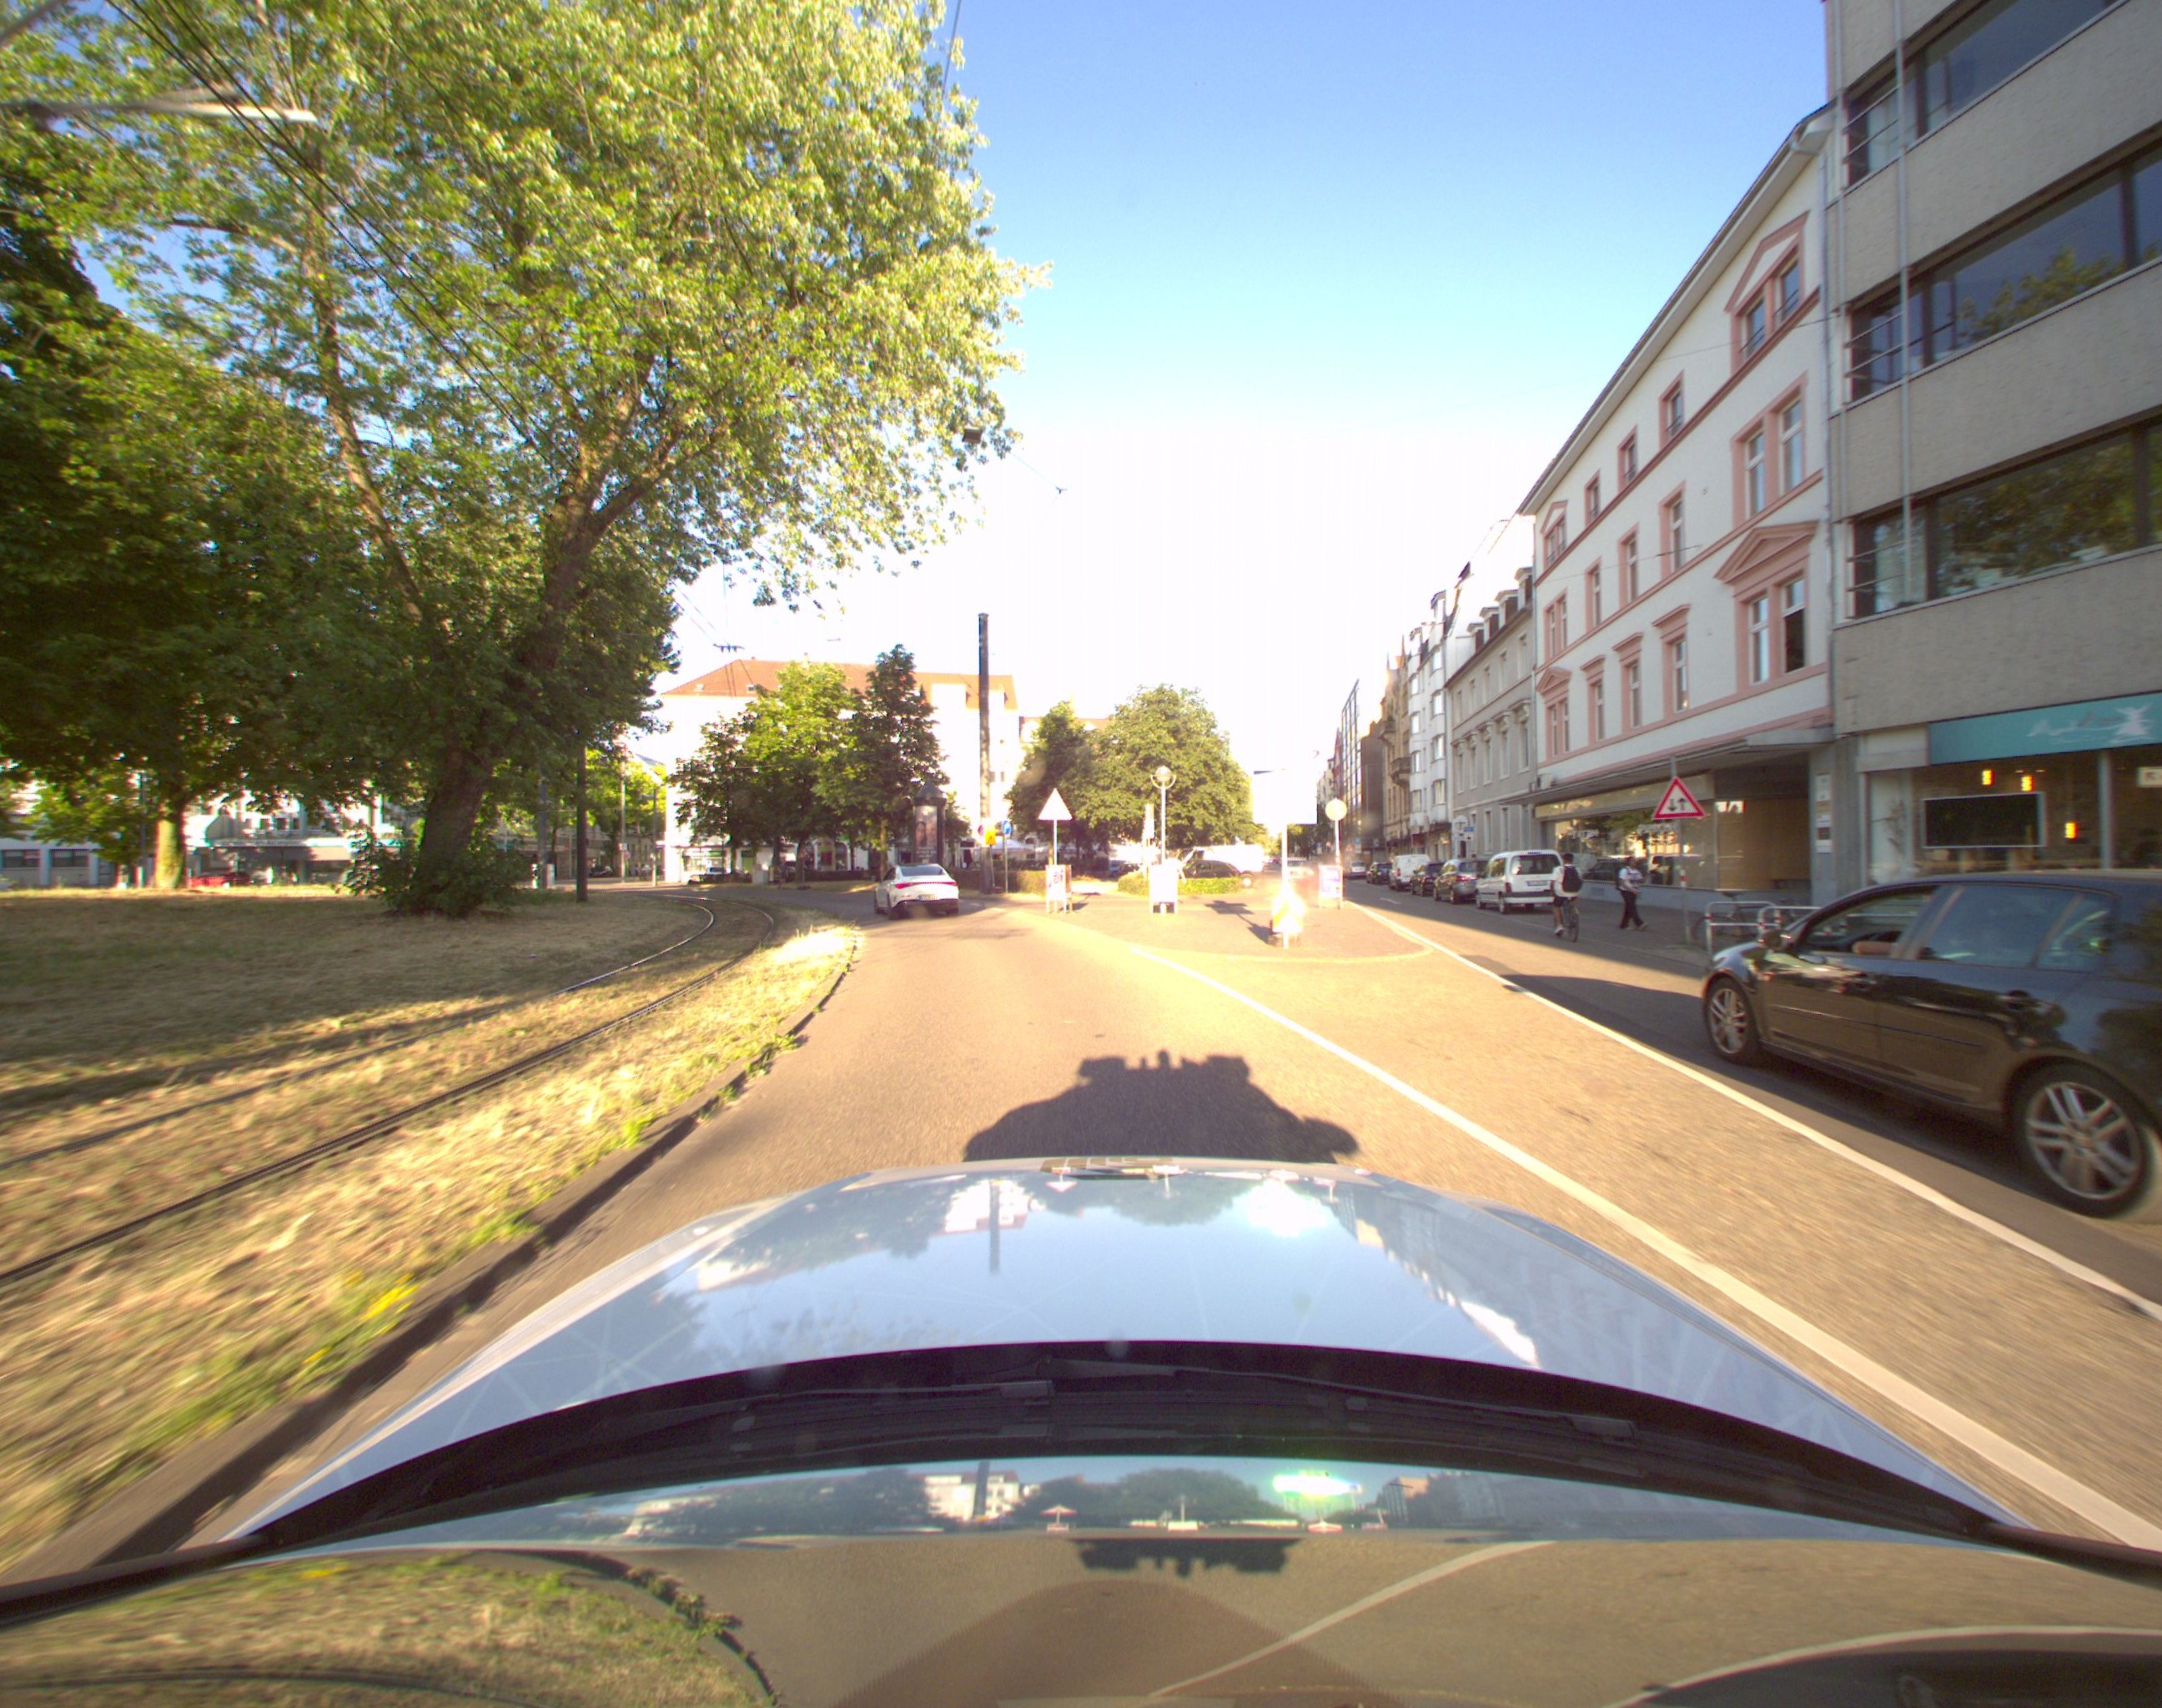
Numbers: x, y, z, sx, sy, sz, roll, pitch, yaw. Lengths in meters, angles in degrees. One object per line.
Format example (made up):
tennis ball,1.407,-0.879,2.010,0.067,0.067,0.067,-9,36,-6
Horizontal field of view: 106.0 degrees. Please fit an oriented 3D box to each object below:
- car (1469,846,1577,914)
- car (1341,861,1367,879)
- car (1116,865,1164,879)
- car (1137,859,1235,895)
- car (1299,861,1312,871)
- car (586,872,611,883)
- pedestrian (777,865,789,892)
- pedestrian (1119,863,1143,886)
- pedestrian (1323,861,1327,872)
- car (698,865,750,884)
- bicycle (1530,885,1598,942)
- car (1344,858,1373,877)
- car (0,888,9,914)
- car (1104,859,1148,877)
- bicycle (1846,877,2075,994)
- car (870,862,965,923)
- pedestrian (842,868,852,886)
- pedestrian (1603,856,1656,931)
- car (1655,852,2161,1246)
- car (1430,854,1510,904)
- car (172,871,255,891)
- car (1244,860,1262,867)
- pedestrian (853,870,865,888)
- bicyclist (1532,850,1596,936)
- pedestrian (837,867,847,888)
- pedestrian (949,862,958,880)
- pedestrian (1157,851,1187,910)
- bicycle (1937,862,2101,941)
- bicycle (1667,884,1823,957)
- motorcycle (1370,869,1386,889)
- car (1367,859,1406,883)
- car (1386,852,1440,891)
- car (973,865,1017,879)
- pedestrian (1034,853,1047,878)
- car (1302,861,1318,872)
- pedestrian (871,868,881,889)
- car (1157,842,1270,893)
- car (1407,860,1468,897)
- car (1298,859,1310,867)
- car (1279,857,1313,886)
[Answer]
car,12.915,0.732,24.052,1.723,1.800,3.930,-2,-1,12
car,23.768,1.376,71.006,1.740,1.511,3.556,-2,-1,11
car,5.382,1.623,74.381,3.988,1.301,1.846,0,-1,-11
car,4.727,0.986,36.644,4.001,1.552,1.866,0,-1,-21
car,34.572,1.863,125.462,1.740,1.511,3.556,-2,-1,11
car,-63.355,3.070,106.912,1.657,1.477,3.610,0,-1,-11
pedestrian,-17.054,1.395,46.607,0.563,1.566,0.588,1,-1,-33
pedestrian,2.712,1.141,44.575,1.098,1.226,0.856,1,-1,-14
pedestrian,41.117,2.066,137.335,0.527,1.923,0.543,0,-1,11
car,-29.079,1.653,66.447,3.613,1.552,1.656,0,-1,-10
bicycle,9.474,1.144,16.048,0.575,0.987,1.942,0,-1,12
car,22.820,1.111,67.097,1.740,1.511,3.556,-2,-1,11
car,-61.982,2.633,44.409,1.574,1.463,3.974,0,-1,21
car,4.403,1.377,79.579,3.988,1.782,1.846,0,-1,-11
bicycle,9.350,0.836,8.744,0.616,1.119,1.587,-2,-1,-44
car,-4.627,0.982,22.561,1.872,1.441,4.167,-2,1,-21
pedestrian,-17.517,1.733,60.944,0.532,1.379,0.660,0,-1,1
pedestrian,11.654,0.824,17.321,0.628,1.555,0.738,0,-1,-2
car,5.244,0.736,4.654,1.736,1.461,4.117,0,0,12
car,13.922,0.874,29.357,1.723,1.617,3.930,-2,-1,12
car,-67.952,2.106,63.886,3.988,1.464,1.992,0,-1,-11
car,35.722,1.980,169.644,3.370,1.287,1.671,0,0,-3
pedestrian,-16.921,1.898,62.068,0.664,1.352,0.660,0,-1,0
bicyclist,9.415,0.740,15.916,0.772,1.618,1.028,1,-1,11
pedestrian,-17.269,1.721,58.898,0.532,1.498,0.660,0,-1,1
pedestrian,-13.520,1.827,86.249,0.856,1.866,0.932,0,-1,-14
pedestrian,2.714,0.787,24.271,0.855,1.706,0.943,0,-1,6
bicycle,14.271,0.723,12.435,0.517,1.119,1.508,-3,-2,-31
bicycle,10.388,1.025,12.792,1.829,1.045,0.584,-3,-1,43
motorcycle,18.475,1.546,50.722,0.484,1.174,1.609,-3,0,5
car,20.121,1.107,53.714,1.740,1.511,3.987,-2,-1,11
car,16.888,0.871,41.619,1.911,1.841,4.032,-2,-1,14
car,-7.996,1.667,75.491,3.988,1.301,1.846,0,-1,-11
pedestrian,-3.179,0.886,63.936,0.930,1.923,0.857,0,-1,-1
car,31.813,1.741,113.226,1.740,1.511,3.556,-2,-1,11
pedestrian,-14.759,1.761,58.675,0.532,1.498,0.660,0,-1,1
car,7.010,0.706,43.226,5.519,2.595,2.144,0,-1,-14
car,15.398,1.044,35.351,1.723,1.462,3.597,-2,-1,12
car,39.699,1.609,145.085,1.740,1.511,3.556,-2,-1,11
car,13.812,1.087,52.443,1.980,1.772,4.014,0,0,13
